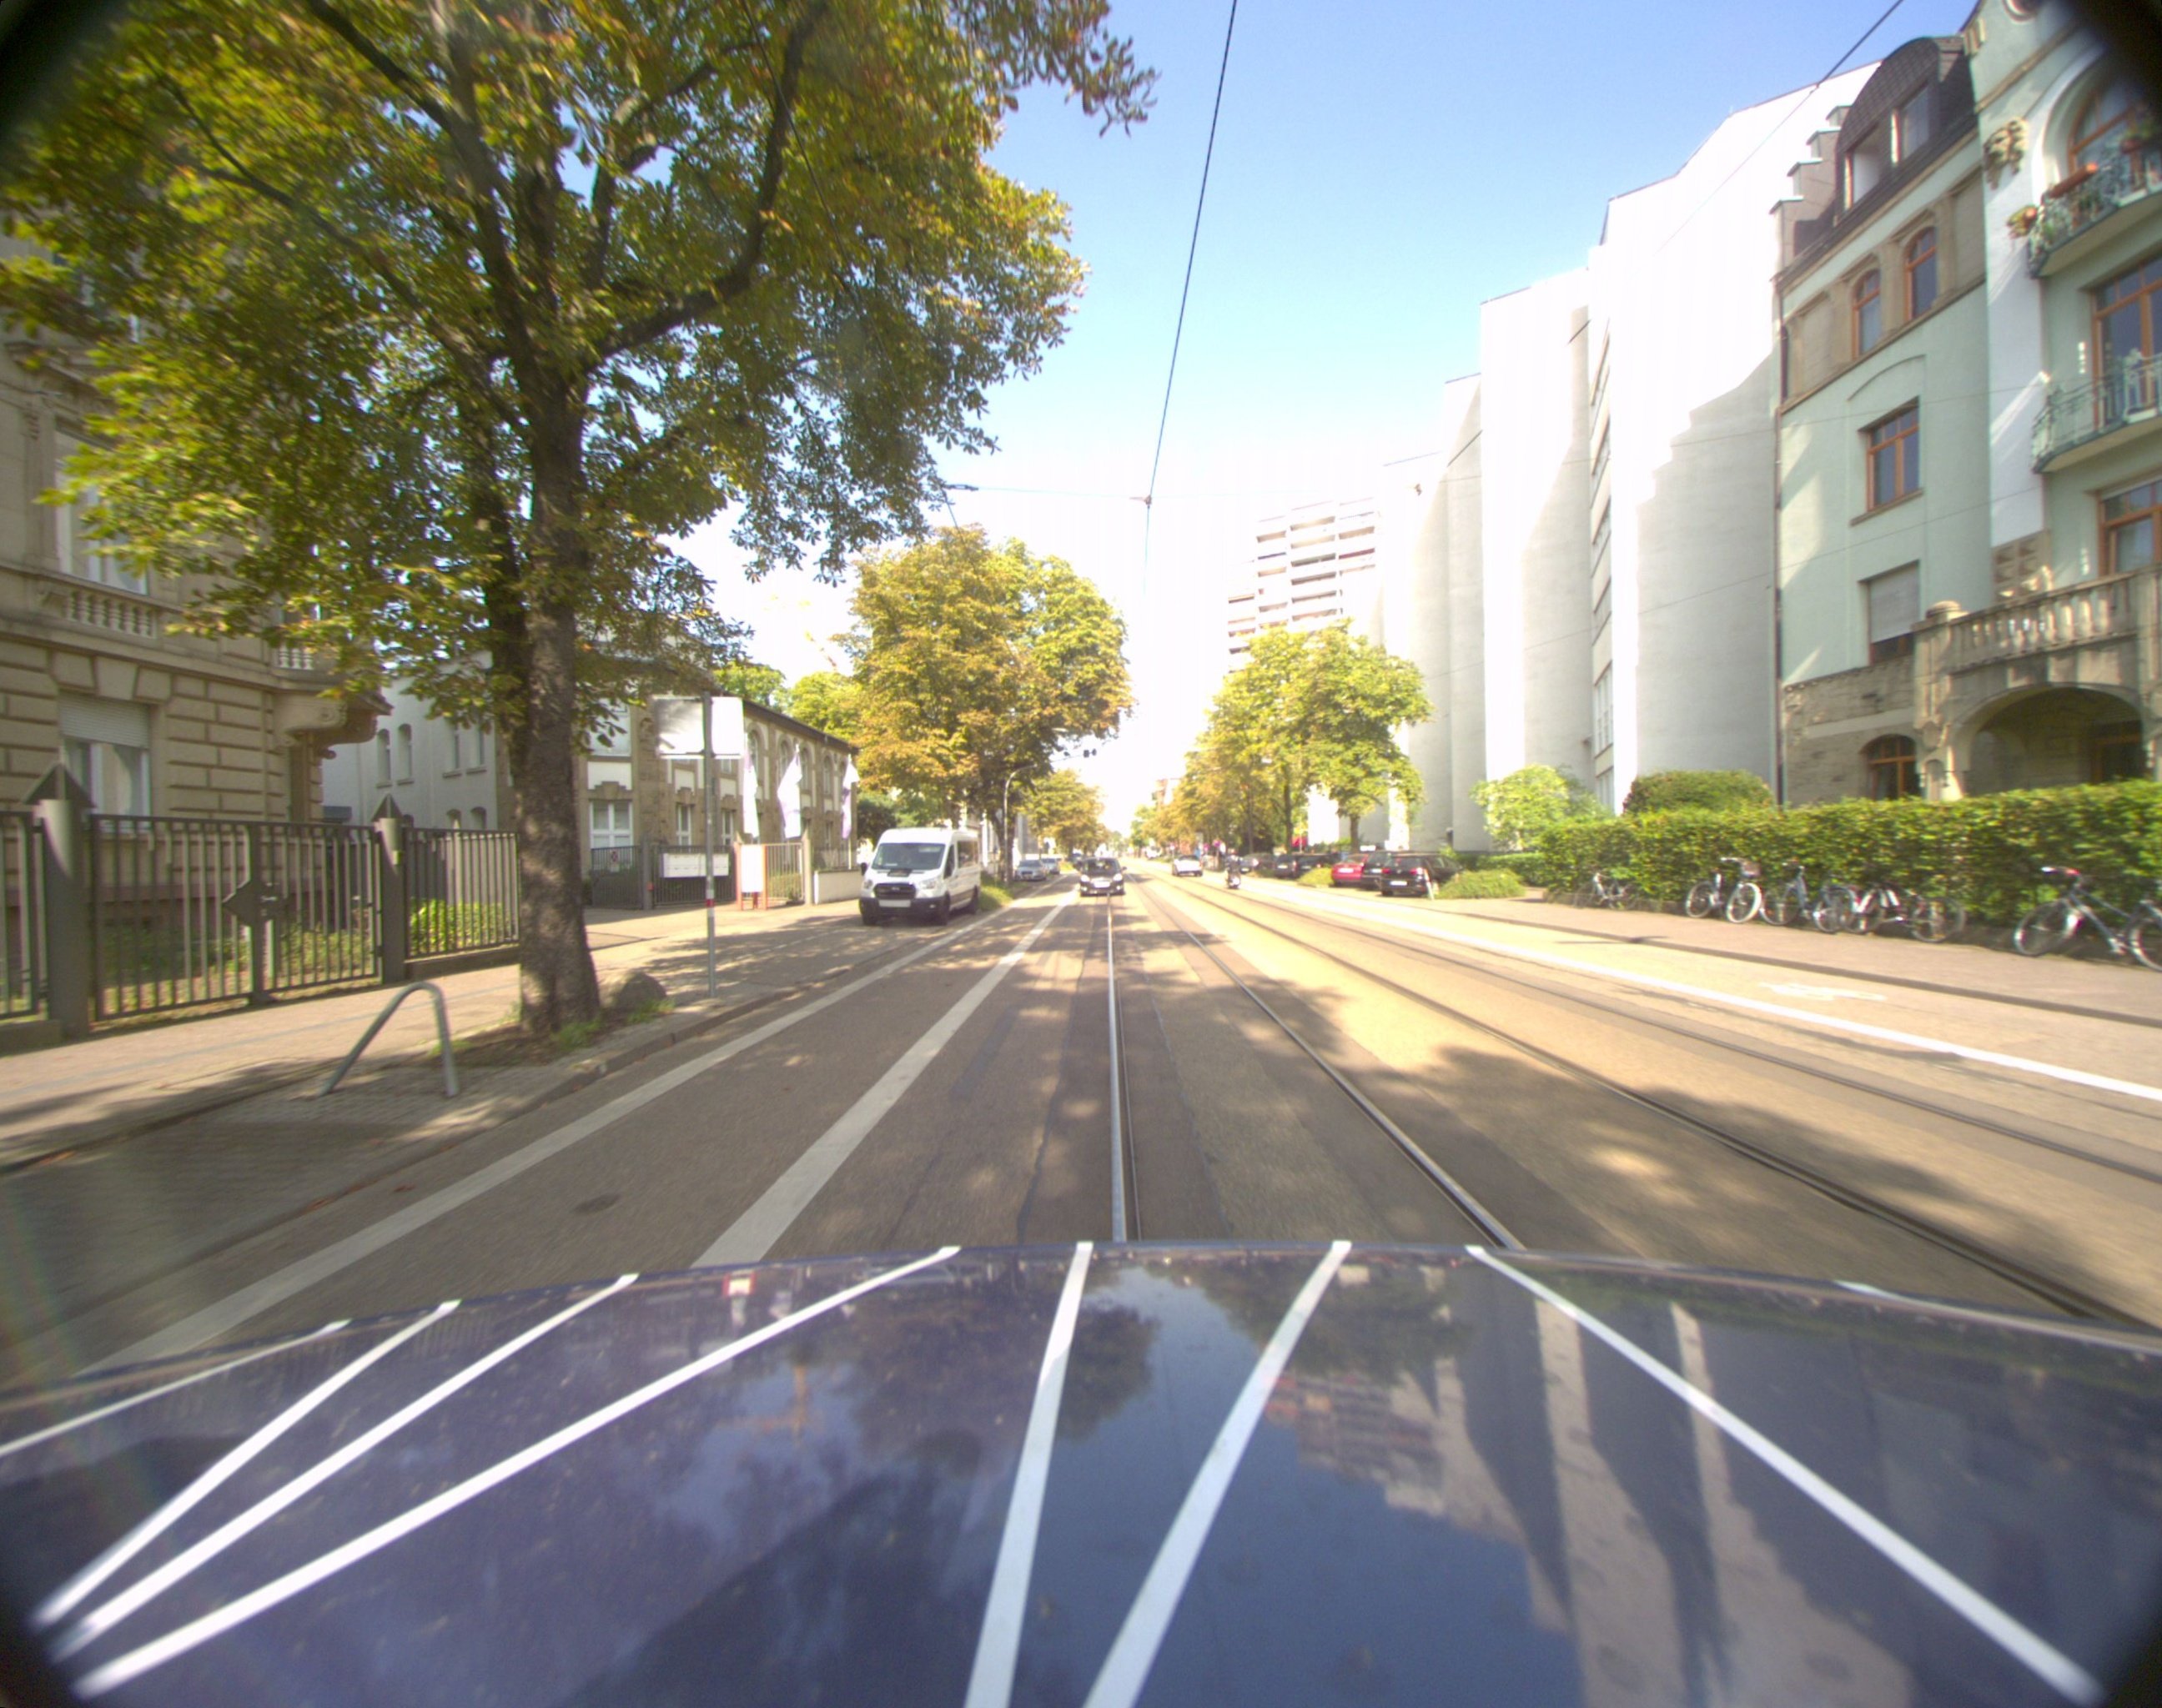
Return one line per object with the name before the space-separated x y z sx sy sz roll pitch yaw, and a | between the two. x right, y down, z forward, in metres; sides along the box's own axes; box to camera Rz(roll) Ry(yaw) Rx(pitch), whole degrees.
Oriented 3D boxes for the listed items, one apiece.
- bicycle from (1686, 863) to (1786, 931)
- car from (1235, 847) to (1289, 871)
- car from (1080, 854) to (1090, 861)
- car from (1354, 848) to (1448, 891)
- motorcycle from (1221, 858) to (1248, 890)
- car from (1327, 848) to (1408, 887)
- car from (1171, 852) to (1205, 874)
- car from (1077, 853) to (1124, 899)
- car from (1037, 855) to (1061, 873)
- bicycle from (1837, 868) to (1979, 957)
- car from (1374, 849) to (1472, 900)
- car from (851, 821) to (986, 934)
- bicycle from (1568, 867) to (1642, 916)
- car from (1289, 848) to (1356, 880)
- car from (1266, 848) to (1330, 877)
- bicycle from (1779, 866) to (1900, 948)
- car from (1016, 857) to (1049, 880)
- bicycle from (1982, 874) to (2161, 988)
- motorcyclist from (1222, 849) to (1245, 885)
bicycle | 11.432 0.720 13.324 0.425 1.081 1.677 -1 1 5
car | 12.254 0.336 51.233 1.767 1.518 4.008 0 1 43
car | 0.752 0.655 146.303 1.757 1.349 3.788 -1 0 1
car | 12.349 0.547 29.198 4.008 1.518 1.767 -1 1 -42
motorcycle | 6.293 0.805 31.344 0.816 1.235 2.202 -1 1 4
car | 12.114 0.533 32.053 1.767 1.518 4.008 0 1 43
car | 6.966 0.542 49.673 1.757 1.349 3.788 -1 0 1
car | 0.767 0.789 28.947 1.610 1.515 4.357 -3 1 2
car | -2.582 0.791 62.004 1.757 1.349 3.788 -1 0 1
bicycle | 11.350 0.758 10.505 0.425 1.081 1.678 -1 1 11
car | 11.504 0.630 25.441 1.767 1.518 4.008 0 1 43
car | -4.041 0.508 20.070 1.998 2.526 5.868 1 1 3
bicycle | 11.447 0.790 16.661 0.425 0.972 1.770 -1 1 1
car | 12.602 0.475 39.506 1.767 1.518 4.008 0 1 43
car | 12.145 0.437 42.380 1.767 1.518 4.008 0 1 43
bicycle | 11.231 0.743 11.320 0.425 1.081 1.678 -1 1 11
car | -3.028 0.882 48.414 1.757 1.349 3.788 -1 0 1
bicycle | 11.117 0.792 8.416 0.425 1.081 1.677 -1 1 6
motorcyclist | 6.287 0.529 31.324 0.816 1.445 0.888 -1 1 4
